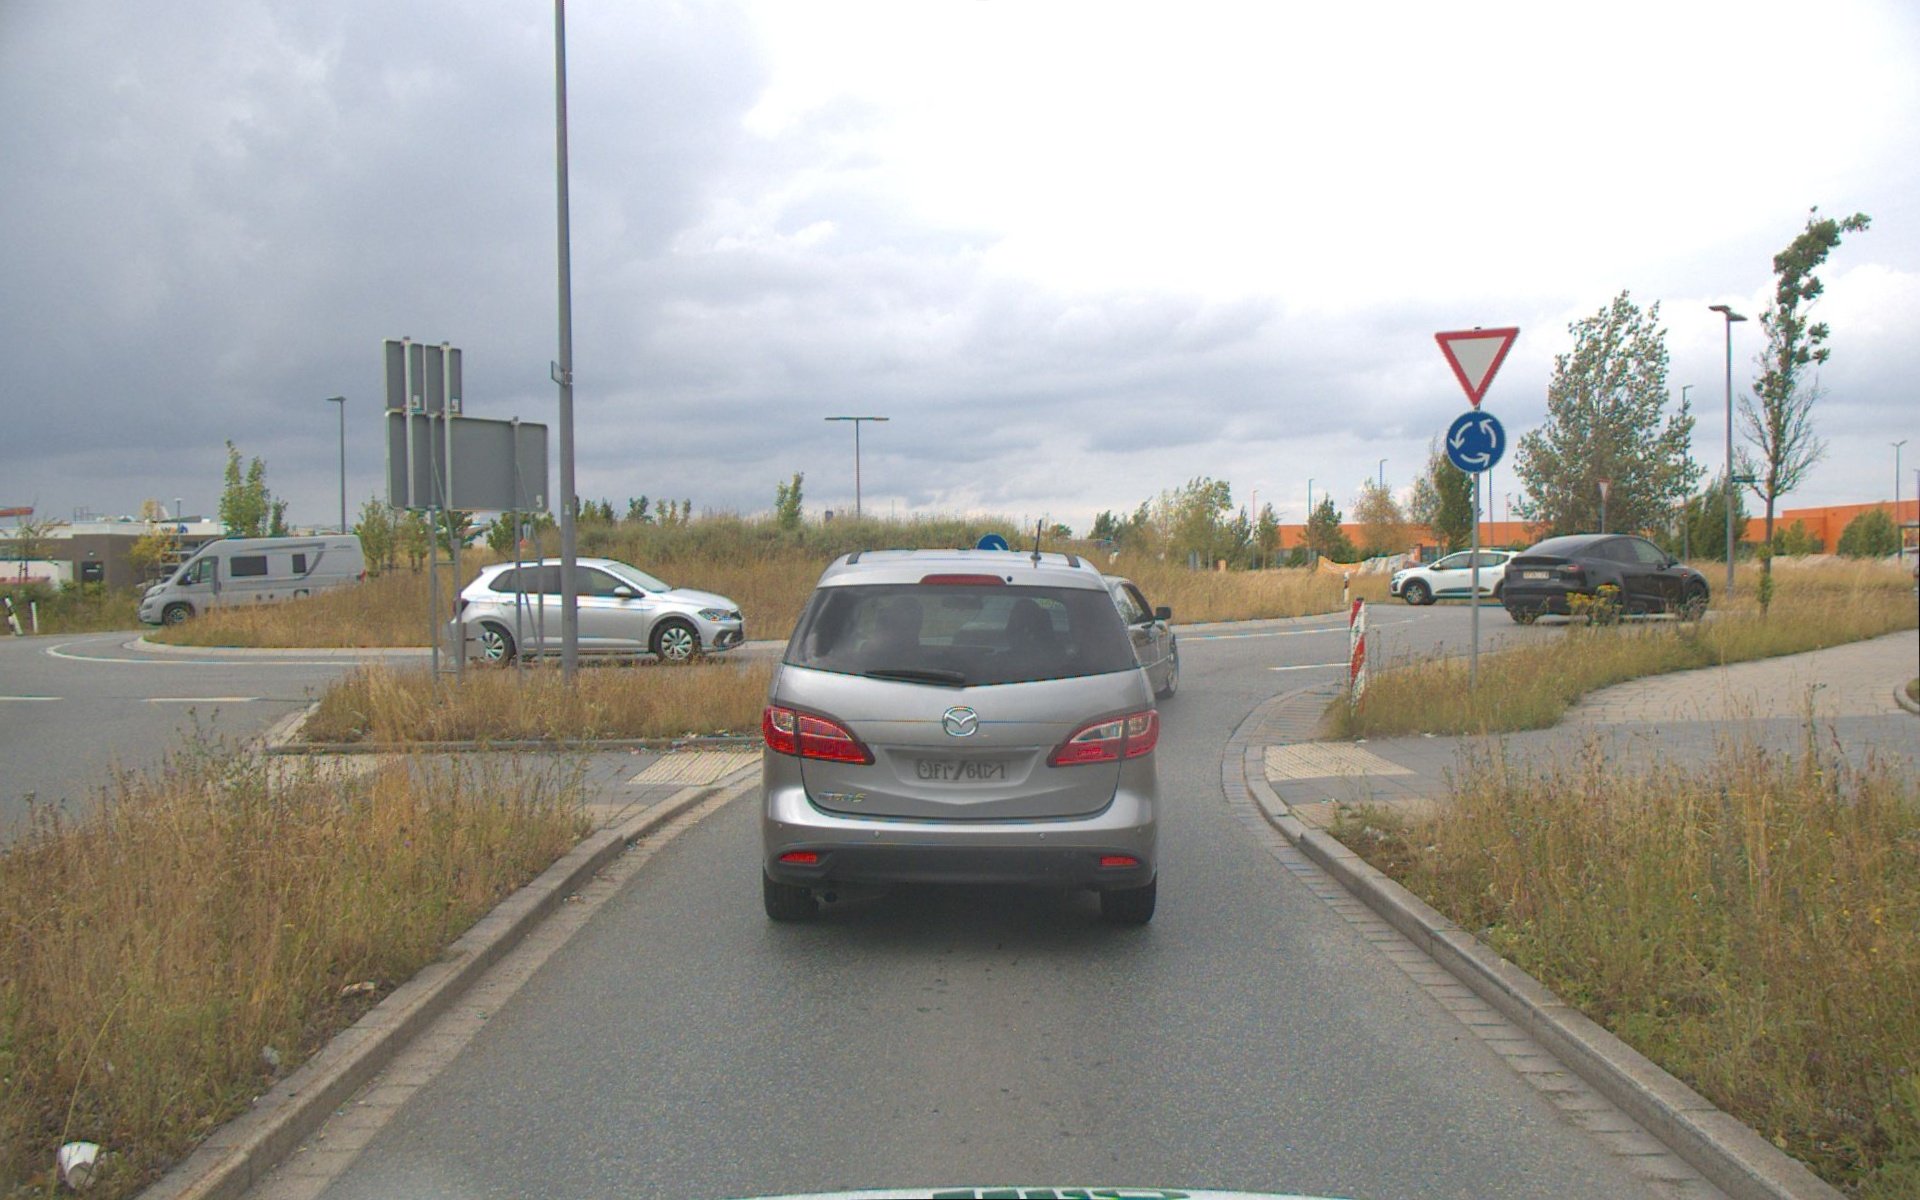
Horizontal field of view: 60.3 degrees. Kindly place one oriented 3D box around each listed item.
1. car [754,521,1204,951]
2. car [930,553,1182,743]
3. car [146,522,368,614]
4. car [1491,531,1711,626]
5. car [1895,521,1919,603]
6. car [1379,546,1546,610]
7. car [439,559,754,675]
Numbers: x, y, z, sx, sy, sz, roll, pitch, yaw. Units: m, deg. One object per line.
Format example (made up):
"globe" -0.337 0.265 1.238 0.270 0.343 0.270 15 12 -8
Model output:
"car" 0.019 0.480 8.325 1.703 1.626 3.997 1 1 -2
"car" 1.041 0.334 15.710 1.701 1.427 4.002 1 3 13
"car" -20.075 -0.845 47.282 5.631 2.429 2.259 1 -1 -29
"car" 11.944 -0.452 30.666 4.735 1.524 1.915 -4 4 -42
"car" 23.091 -0.892 36.139 4.681 1.768 1.937 -2 3 -16
"car" 14.048 -0.617 46.230 4.240 1.676 1.870 0 3 25
"car" -4.949 0.229 22.905 3.904 1.490 1.814 1 -1 1
